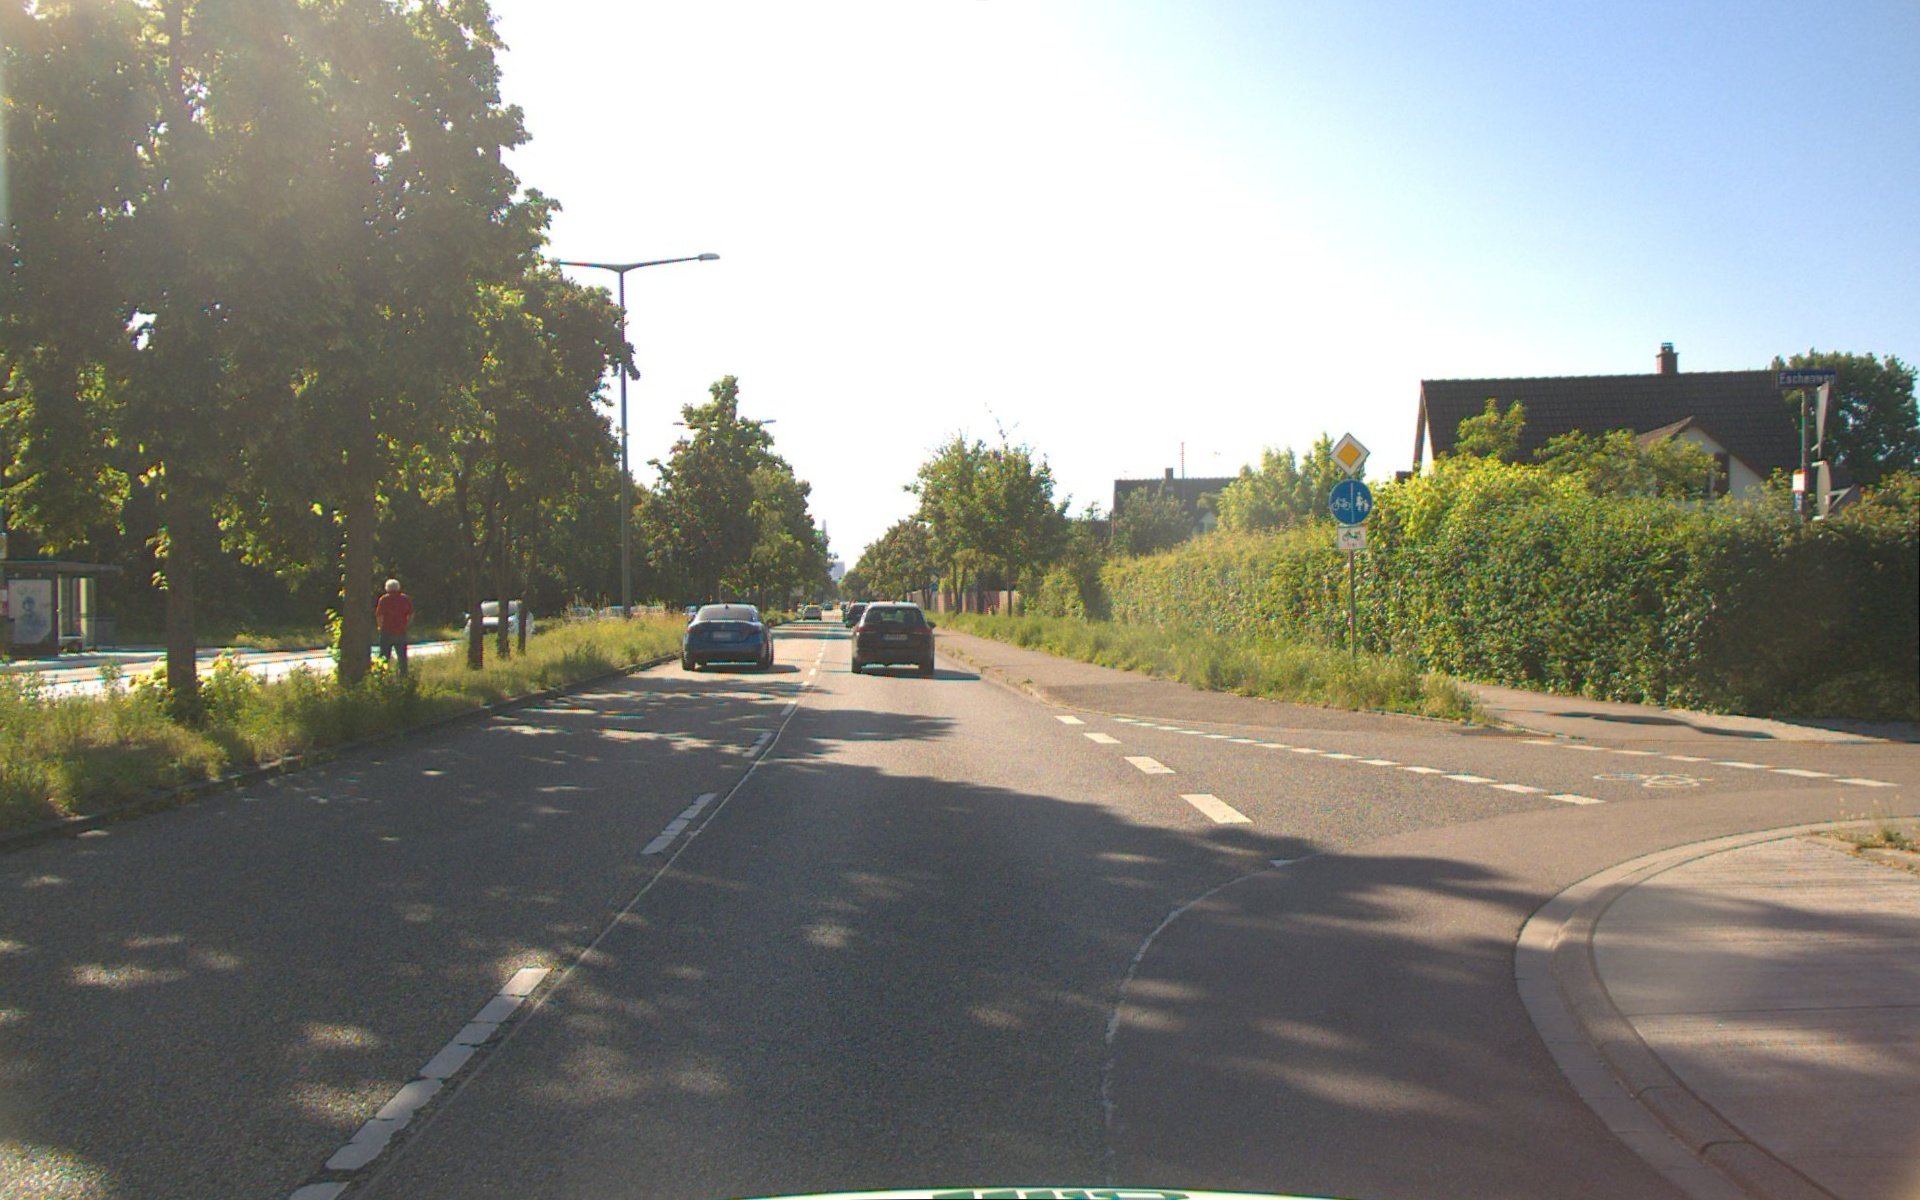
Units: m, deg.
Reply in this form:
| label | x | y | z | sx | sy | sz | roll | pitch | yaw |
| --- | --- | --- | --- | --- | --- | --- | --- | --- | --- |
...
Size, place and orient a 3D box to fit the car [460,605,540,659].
| label | x | y | z | sx | sy | sz | roll | pitch | yaw |
| --- | --- | --- | --- | --- | --- | --- | --- | --- | --- |
| car | -14.988 | 1.008 | 54.068 | 1.696 | 1.660 | 4.194 | -1 | 0 | -4 |

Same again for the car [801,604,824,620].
| label | x | y | z | sx | sy | sz | roll | pitch | yaw |
| --- | --- | --- | --- | --- | --- | --- | --- | --- | --- |
| car | -14.081 | 1.130 | 157.770 | 1.941 | 1.465 | 3.993 | -1 | 1 | -8 |

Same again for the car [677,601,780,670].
| label | x | y | z | sx | sy | sz | roll | pitch | yaw |
| --- | --- | --- | --- | --- | --- | --- | --- | --- | --- |
| car | -5.133 | 0.752 | 37.131 | 1.955 | 1.429 | 3.997 | 0 | 0 | -4 |

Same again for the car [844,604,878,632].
| label | x | y | z | sx | sy | sz | roll | pitch | yaw |
| --- | --- | --- | --- | --- | --- | --- | --- | --- | --- |
| car | -6.161 | 1.092 | 102.298 | 1.711 | 1.625 | 4.166 | 0 | 1 | -9 |

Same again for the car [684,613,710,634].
| label | x | y | z | sx | sy | sz | roll | pitch | yaw |
| --- | --- | --- | --- | --- | --- | --- | --- | --- | --- |
| car | -21.058 | 1.865 | 132.364 | 1.680 | 1.630 | 4.354 | 0 | 0 | -5 |

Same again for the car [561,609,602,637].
| label | x | y | z | sx | sy | sz | roll | pitch | yaw |
| --- | --- | --- | --- | --- | --- | --- | --- | --- | --- |
| car | -22.124 | 1.319 | 96.829 | 1.770 | 1.526 | 4.590 | 0 | 0 | -6 |

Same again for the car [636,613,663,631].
| label | x | y | z | sx | sy | sz | roll | pitch | yaw |
| --- | --- | --- | --- | --- | --- | --- | --- | --- | --- |
| car | -25.474 | 1.794 | 135.736 | 1.802 | 1.438 | 3.995 | 0 | 0 | -6 |

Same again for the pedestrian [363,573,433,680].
| label | x | y | z | sx | sy | sz | roll | pitch | yaw |
| --- | --- | --- | --- | --- | --- | --- | --- | --- | --- |
| pedestrian | -9.249 | 0.427 | 27.246 | 0.618 | 1.726 | 0.942 | 0 | 0 | 26 |

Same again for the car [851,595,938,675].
| label | x | y | z | sx | sy | sz | roll | pitch | yaw |
| --- | --- | --- | --- | --- | --- | --- | --- | --- | --- |
| car | -1.433 | 0.726 | 35.474 | 1.725 | 1.586 | 3.997 | 1 | -1 | -3 |
